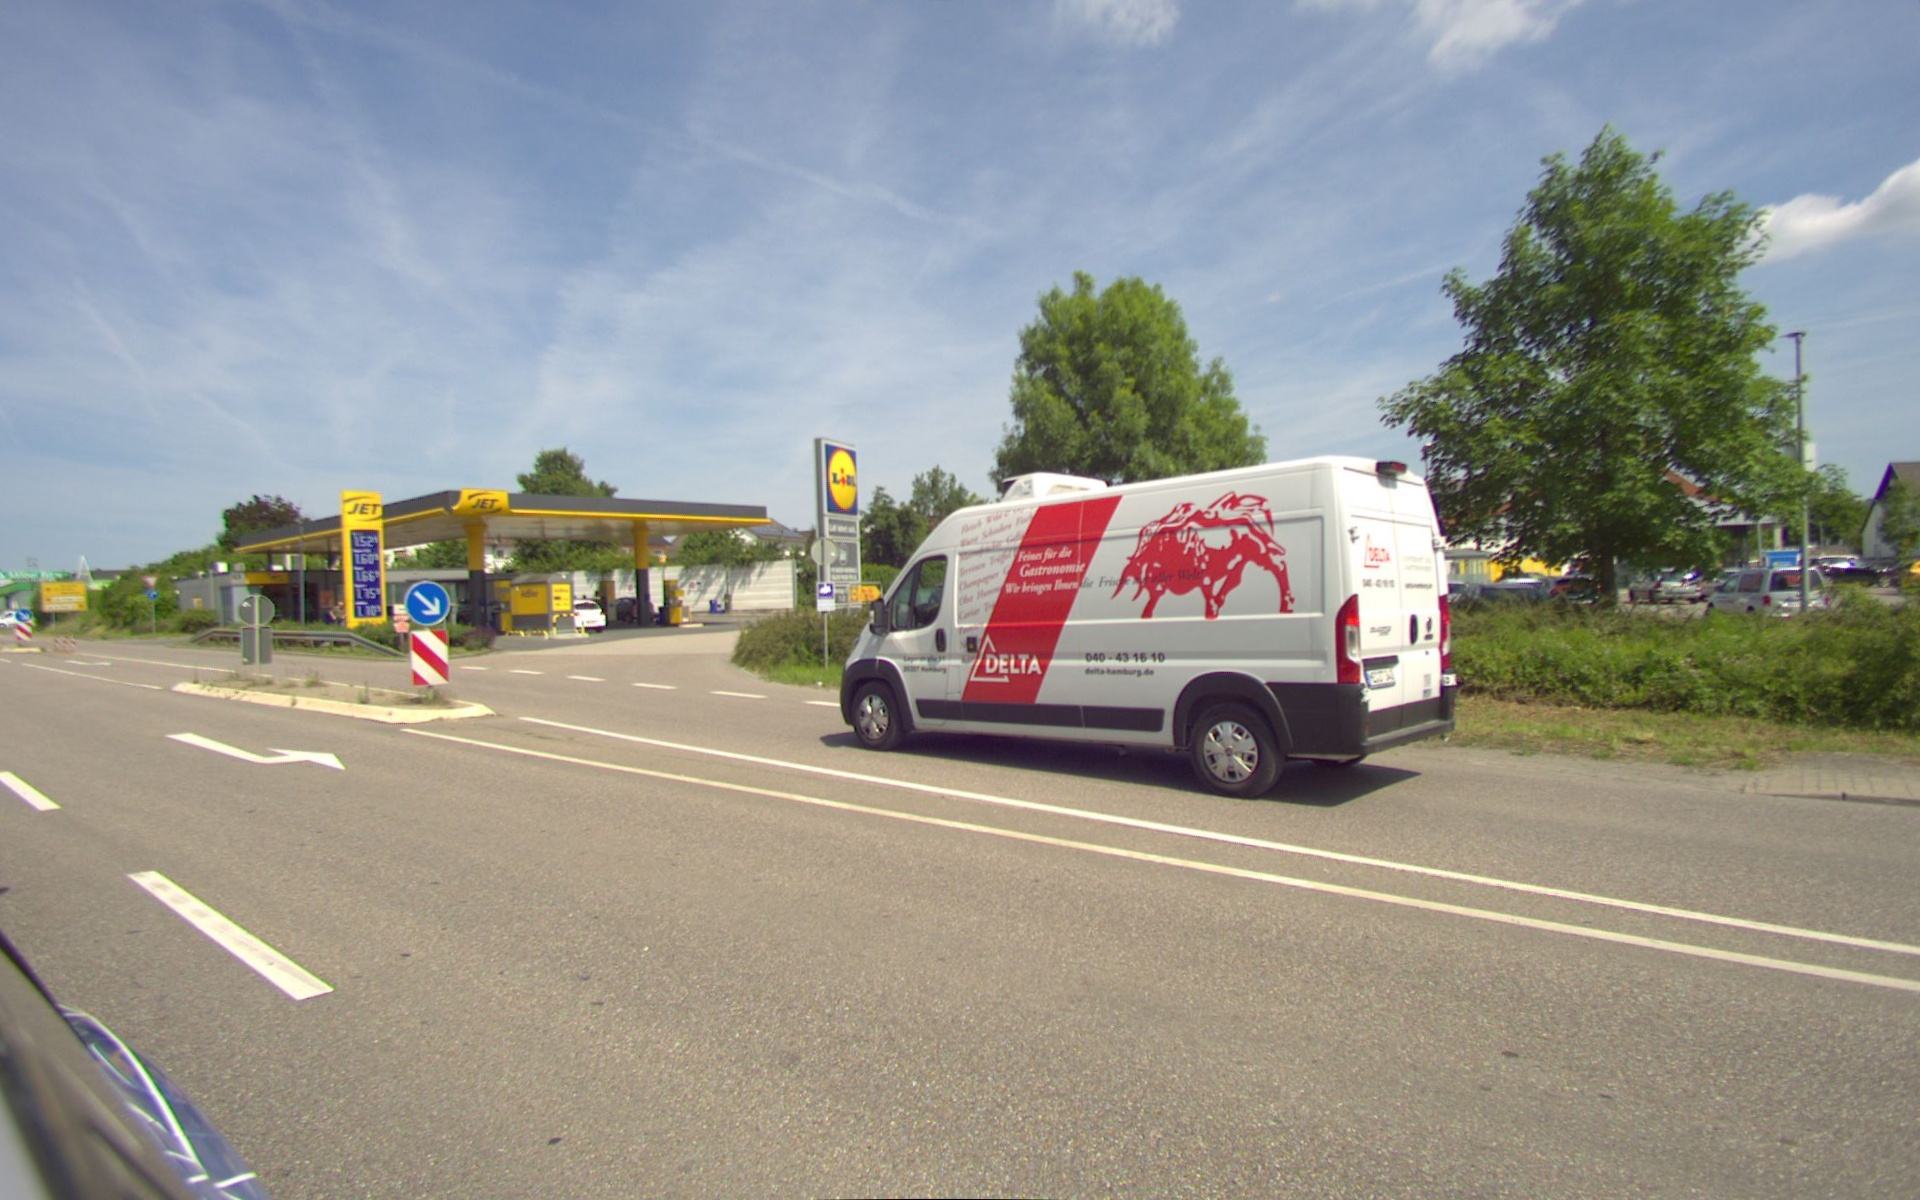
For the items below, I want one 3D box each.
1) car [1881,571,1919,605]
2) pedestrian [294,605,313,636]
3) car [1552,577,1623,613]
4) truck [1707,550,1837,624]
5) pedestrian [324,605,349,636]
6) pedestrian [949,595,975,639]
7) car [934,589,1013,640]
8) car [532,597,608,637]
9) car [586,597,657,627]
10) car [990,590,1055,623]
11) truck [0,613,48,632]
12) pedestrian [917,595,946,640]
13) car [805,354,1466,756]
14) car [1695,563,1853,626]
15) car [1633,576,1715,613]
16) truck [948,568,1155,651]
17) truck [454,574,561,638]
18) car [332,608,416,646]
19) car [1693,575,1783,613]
[{"bbox_3d":[45.114,-0.567,46.091,4.223,1.553,1.869,0,0,18],"label":"car"},{"bbox_3d":[-38.758,1.209,59.736,0.639,1.852,0.788,-2,0,41],"label":"pedestrian"},{"bbox_3d":[28.457,-0.207,45.995,1.865,1.553,4.231,0,0,20],"label":"car"},{"bbox_3d":[27.863,-0.436,34.890,1.981,2.383,3.982,0,0,14],"label":"truck"},{"bbox_3d":[-29.152,0.958,47.341,0.494,1.438,0.902,-1,0,44],"label":"pedestrian"},{"bbox_3d":[0.069,0.601,36.254,0.801,1.587,0.701,-1,0,13],"label":"pedestrian"},{"bbox_3d":[0.582,0.506,38.724,1.865,1.825,4.145,-1,0,17],"label":"car"},{"bbox_3d":[-17.775,0.802,46.079,4.001,1.741,1.713,-2,-3,44],"label":"car"},{"bbox_3d":[-19.333,0.707,57.769,3.862,1.625,1.735,-2,-1,31],"label":"car"},{"bbox_3d":[3.413,0.335,54.506,1.765,1.551,3.956,-2,0,33],"label":"car"},{"bbox_3d":[-112.479,2.667,121.127,1.999,2.024,4.711,-1,1,40],"label":"truck"},{"bbox_3d":[-1.043,0.620,36.540,0.805,1.587,0.698,-1,0,25],"label":"pedestrian"},{"bbox_3d":[1.217,-0.232,9.584,5.987,2.674,2.094,-2,-1,44],"label":"car"},{"bbox_3d":[24.209,-0.139,30.329,1.981,1.708,4.408,-1,0,14],"label":"car"},{"bbox_3d":[31.491,-0.249,44.763,1.865,1.553,4.231,0,0,20],"label":"car"},{"bbox_3d":[2.926,0.322,32.038,6.281,2.393,2.242,-1,-1,11],"label":"truck"},{"bbox_3d":[-22.117,0.287,49.318,6.278,2.944,2.222,0,0,40],"label":"truck"},{"bbox_3d":[-27.734,1.275,47.831,4.258,1.719,1.975,-2,-1,38],"label":"car"},{"bbox_3d":[33.906,-0.252,44.218,1.865,1.553,4.231,0,0,20],"label":"car"}]
